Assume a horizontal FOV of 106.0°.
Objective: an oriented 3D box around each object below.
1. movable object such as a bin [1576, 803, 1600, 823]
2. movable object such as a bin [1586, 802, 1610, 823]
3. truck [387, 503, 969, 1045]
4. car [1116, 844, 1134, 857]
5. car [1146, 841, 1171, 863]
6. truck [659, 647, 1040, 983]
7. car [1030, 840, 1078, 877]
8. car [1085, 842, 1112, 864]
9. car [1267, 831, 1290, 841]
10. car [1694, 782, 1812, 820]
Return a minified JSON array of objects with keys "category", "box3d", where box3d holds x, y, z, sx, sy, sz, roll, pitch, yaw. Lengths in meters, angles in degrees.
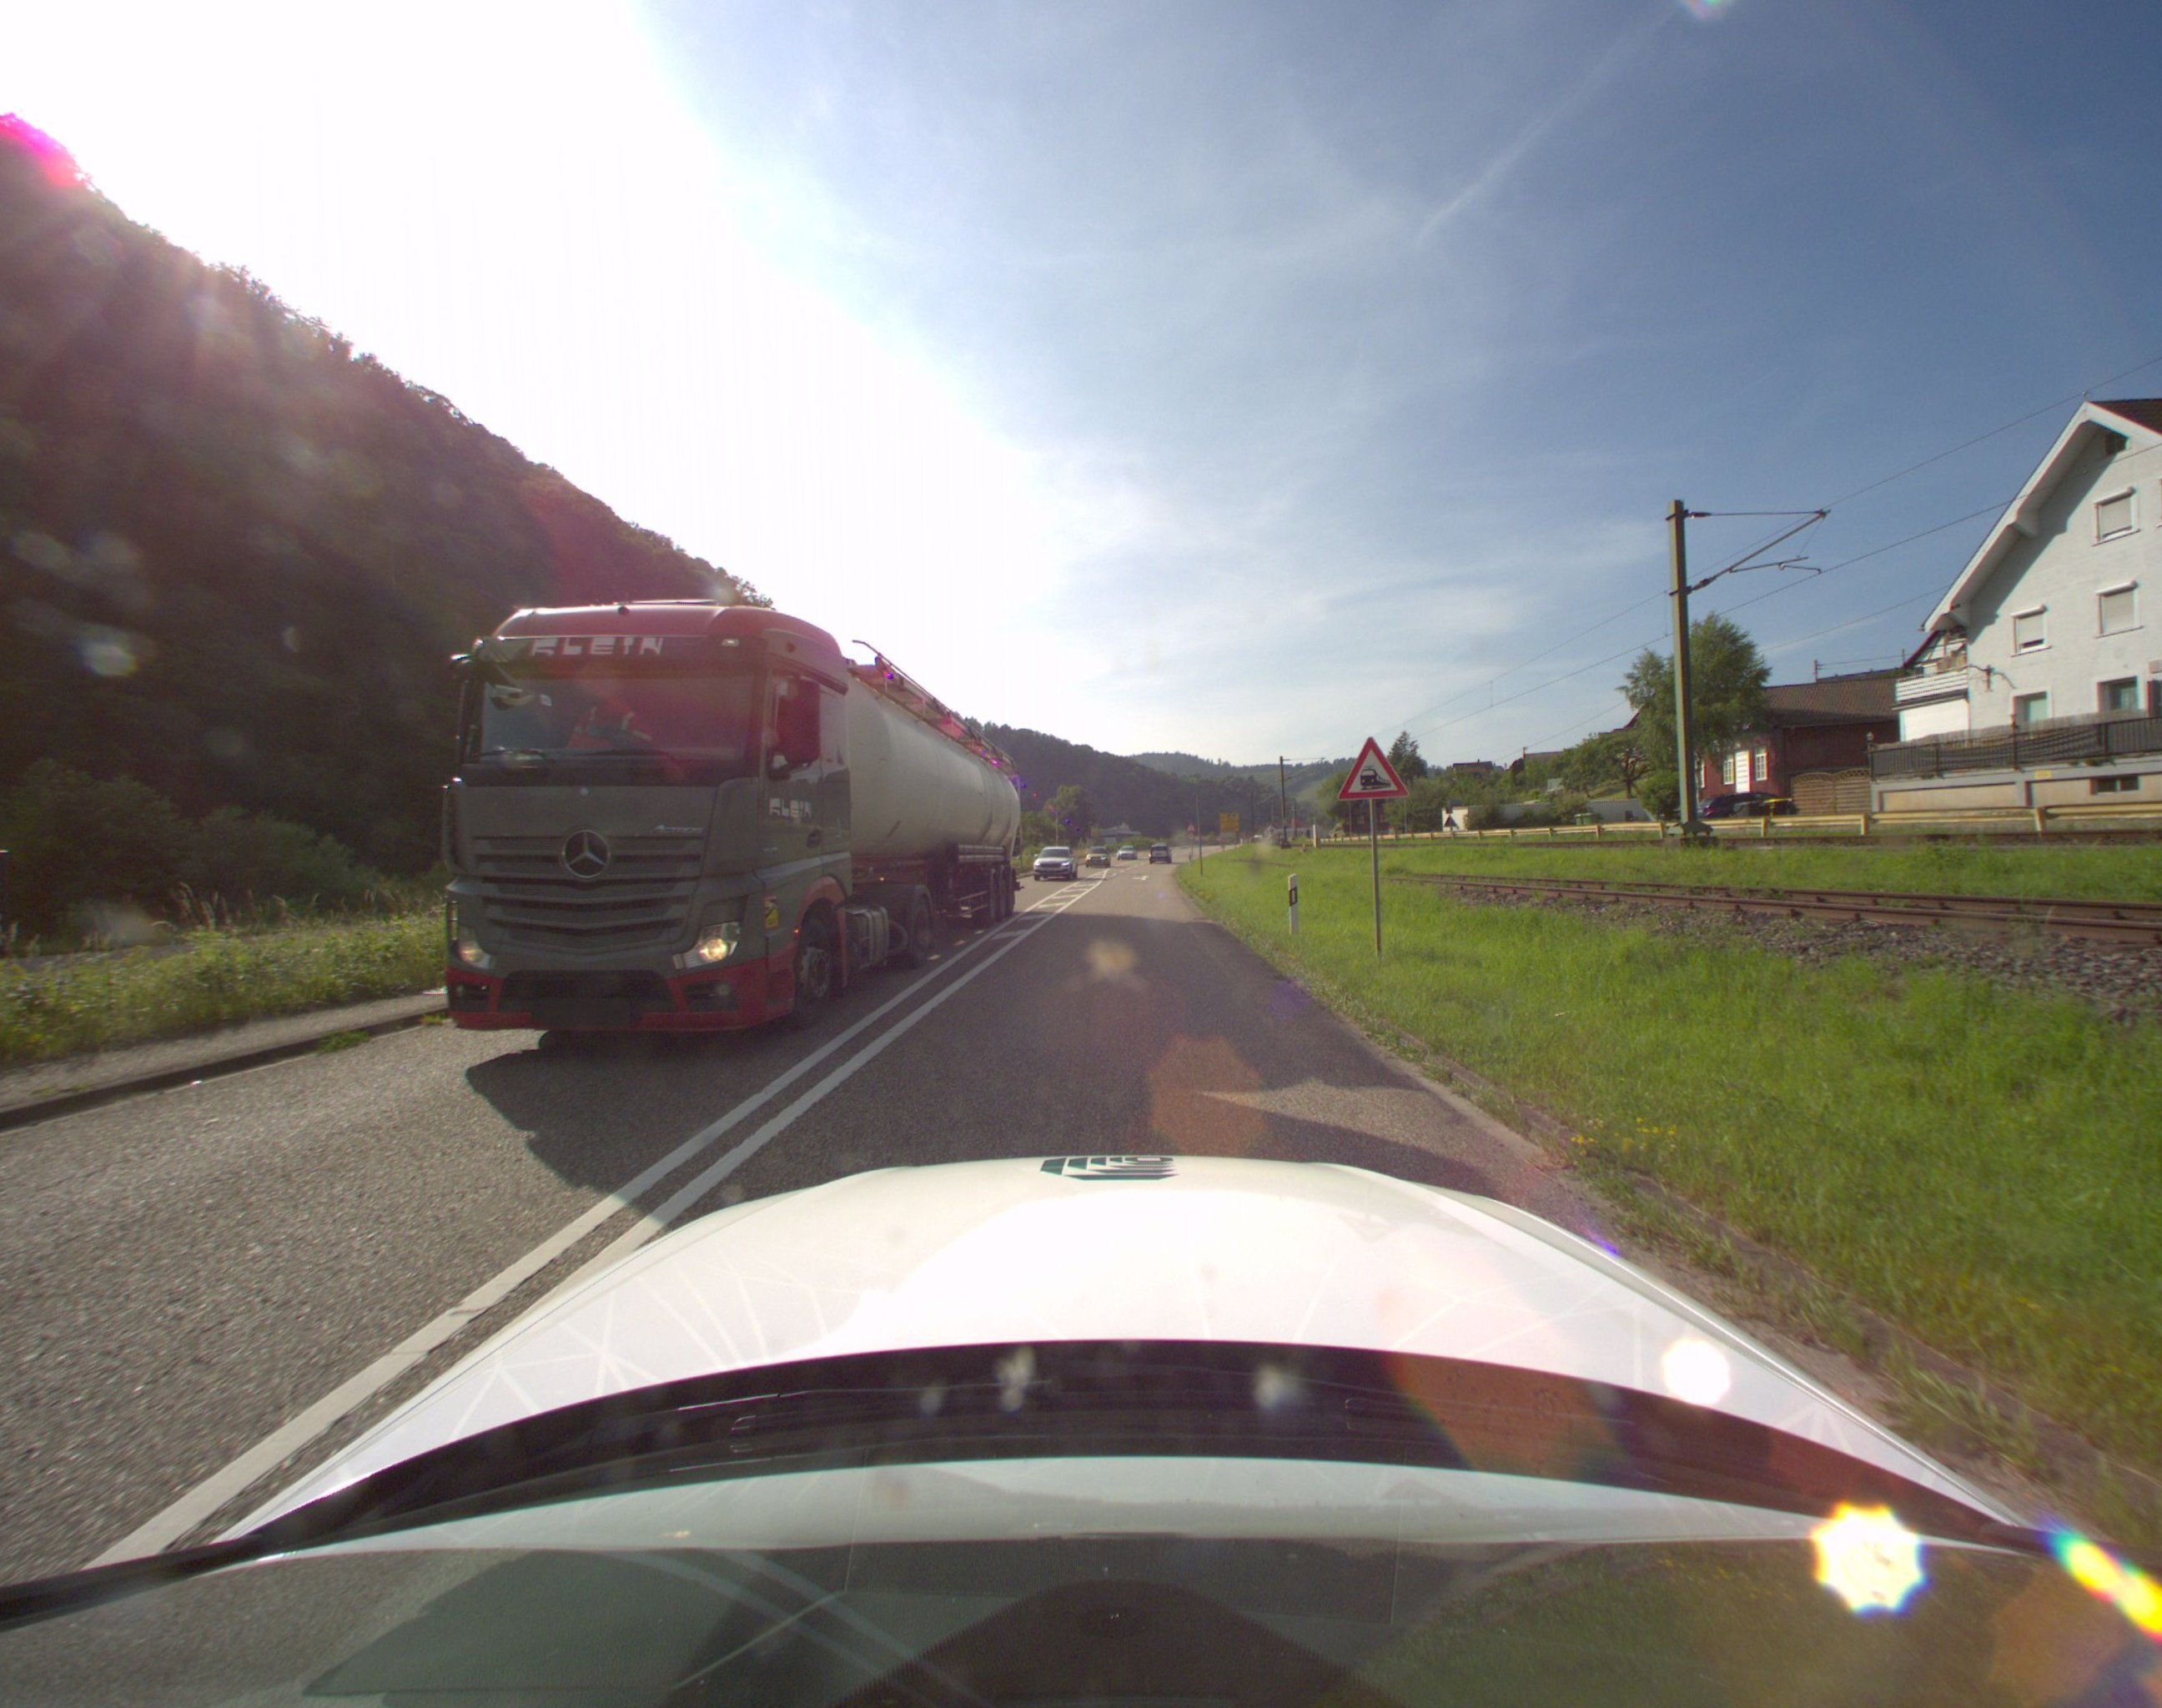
[{"category":"movable object such as a bin","box3d":[27.656,-2.207,44.437,0.803,1.050,0.914,-1,1,7]},{"category":"movable object such as a bin","box3d":[27.560,-2.198,43.424,0.803,1.050,0.914,-1,1,7]},{"category":"truck","box3d":[-3.461,-0.598,9.947,2.739,3.835,8.201,-1,0,2]},{"category":"car","box3d":[4.714,-0.363,86.791,1.769,1.348,4.517,0,1,5]},{"category":"car","box3d":[6.767,-0.203,71.528,1.985,1.723,3.995,-4,0,4]},{"category":"truck","box3d":[-3.057,-0.493,16.700,2.738,3.835,14.576,-1,0,3]},{"category":"car","box3d":[-1.313,0.209,41.282,1.985,1.758,4.474,0,0,4]},{"category":"car","box3d":[1.387,-0.081,62.609,1.715,1.624,3.803,-1,1,6]},{"category":"car","box3d":[49.256,-4.471,203.467,5.234,2.013,2.010,-4,0,20]},{"category":"car","box3d":[32.351,-2.535,39.310,3.963,1.376,1.830,-5,0,9]}]
